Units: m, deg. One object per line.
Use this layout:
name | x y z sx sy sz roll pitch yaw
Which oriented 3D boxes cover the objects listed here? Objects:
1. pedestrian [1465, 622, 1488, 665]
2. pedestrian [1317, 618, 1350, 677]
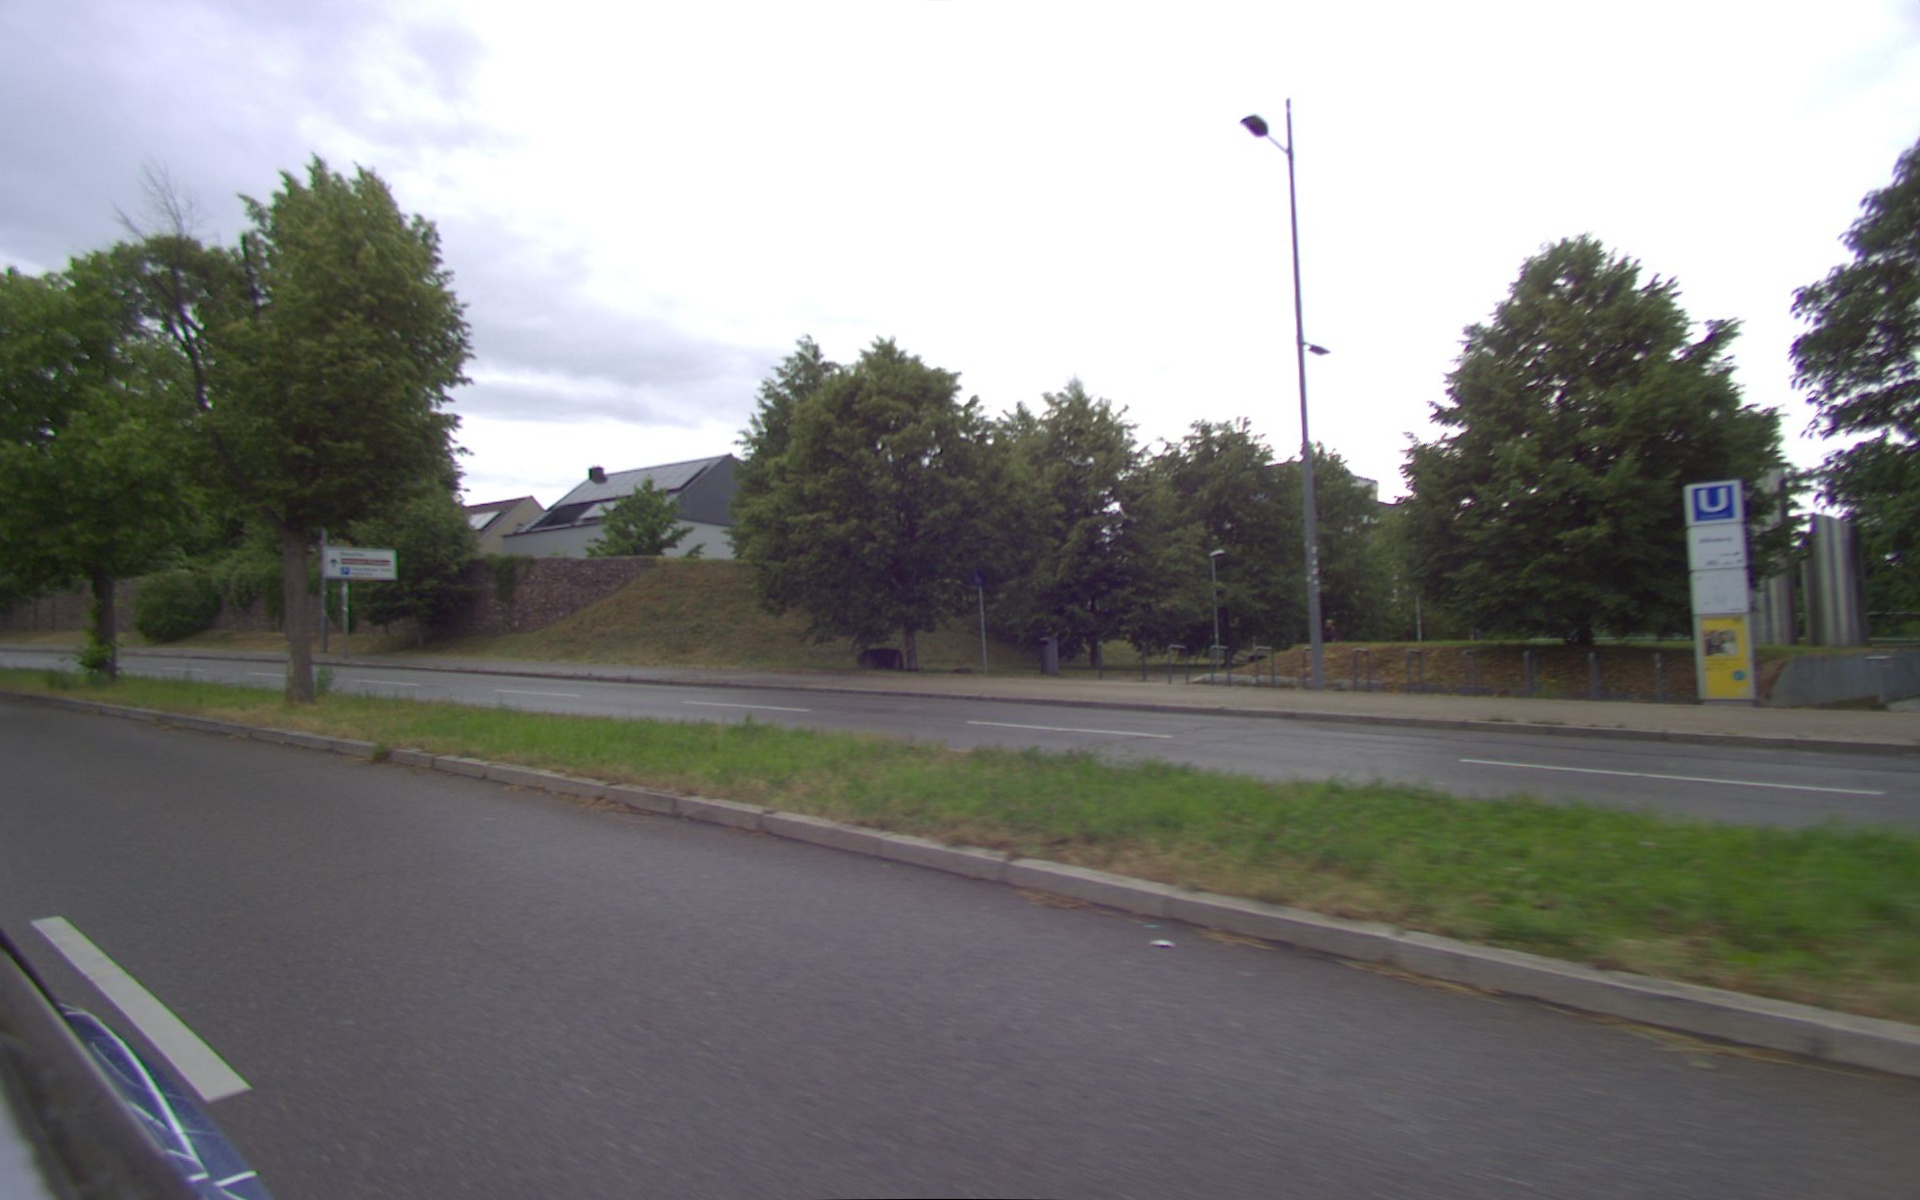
pedestrian | 21.034 1.766 41.234 0.744 1.741 0.648 1 -1 -45
pedestrian | 11.272 1.421 30.544 0.755 1.741 0.639 0 -1 40
